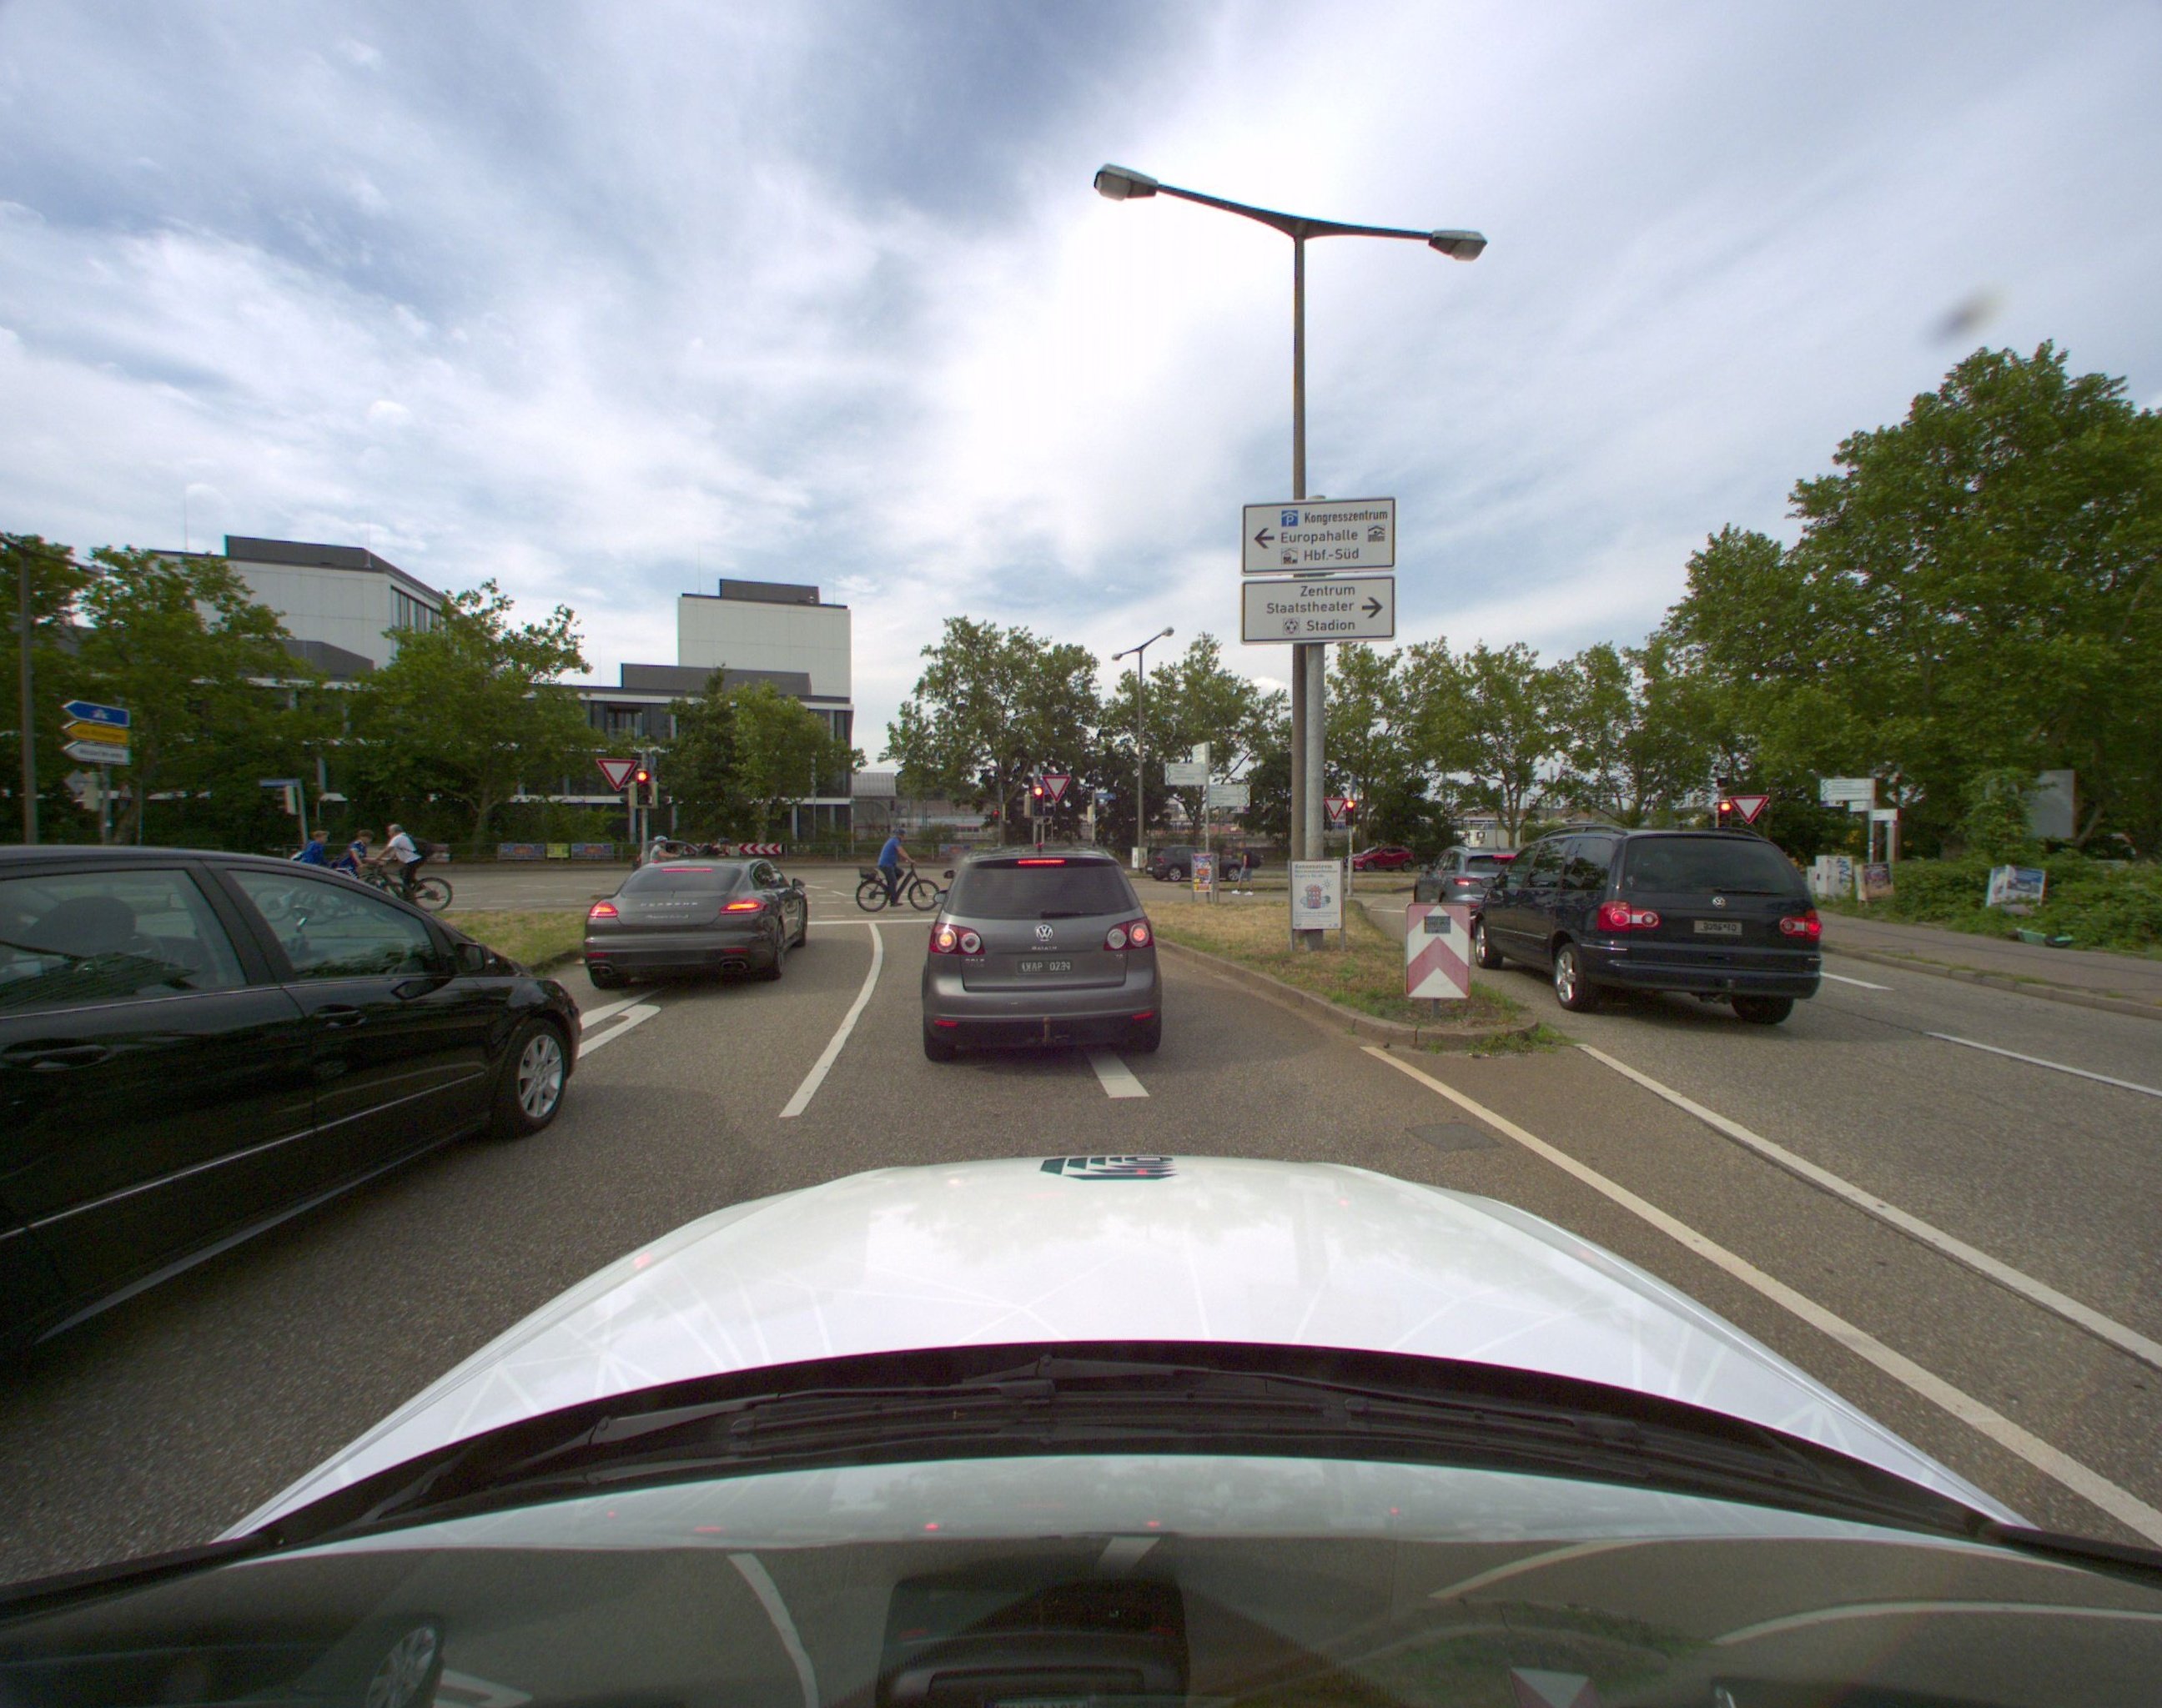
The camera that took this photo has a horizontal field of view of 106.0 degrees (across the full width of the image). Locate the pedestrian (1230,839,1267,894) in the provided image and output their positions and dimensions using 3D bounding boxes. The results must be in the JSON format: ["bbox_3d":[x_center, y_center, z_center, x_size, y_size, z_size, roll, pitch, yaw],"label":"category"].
[{"bbox_3d":[5.327,0.391,25.897,1.038,1.710,0.858,1,1,19],"label":"pedestrian"}]

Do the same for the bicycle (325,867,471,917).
[{"bbox_3d":[-14.450,0.775,17.333,2.240,0.952,0.804,-1,0,-28],"label":"bicycle"}]

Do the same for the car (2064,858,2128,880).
[{"bbox_3d":[81.668,1.177,65.544,3.993,1.723,1.802,-1,0,-15],"label":"car"}]

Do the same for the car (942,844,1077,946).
[{"bbox_3d":[-1.391,0.597,14.112,1.743,1.482,4.063,-1,0,-14],"label":"car"}]

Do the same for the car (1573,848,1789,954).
[{"bbox_3d":[10.944,0.757,15.256,1.738,1.643,4.152,2,0,13],"label":"car"}]

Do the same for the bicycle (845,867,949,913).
[{"bbox_3d":[-4.161,0.791,18.418,2.233,0.952,0.807,-1,0,-17],"label":"bicycle"}]

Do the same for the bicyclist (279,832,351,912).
[{"bbox_3d":[-15.007,0.330,15.968,0.842,1.529,0.623,-1,1,-24],"label":"bicyclist"}]

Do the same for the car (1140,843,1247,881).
[{"bbox_3d":[4.624,0.302,33.514,4.067,1.450,1.693,-1,0,-17],"label":"car"}]

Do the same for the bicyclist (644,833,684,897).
[{"bbox_3d":[-10.422,0.263,20.353,0.782,1.581,0.650,-1,1,-19],"label":"bicyclist"}]

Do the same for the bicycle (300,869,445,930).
[{"bbox_3d":[-13.051,0.817,15.072,1.908,1.013,0.624,-1,1,-21],"label":"bicycle"}]

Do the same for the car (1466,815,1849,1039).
[{"bbox_3d":[5.577,0.570,8.606,1.739,1.724,4.151,2,0,11],"label":"car"}]

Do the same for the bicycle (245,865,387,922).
[{"bbox_3d":[-14.966,0.749,15.989,1.910,1.013,0.623,-1,1,-24],"label":"bicycle"}]

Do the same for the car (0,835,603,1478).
[{"bbox_3d":[-3.648,0.726,2.968,1.755,1.575,4.028,0,1,-6],"label":"car"}]

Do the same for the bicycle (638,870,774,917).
[{"bbox_3d":[-8.029,0.836,17.565,2.594,0.890,0.699,-1,1,-23],"label":"bicycle"}]

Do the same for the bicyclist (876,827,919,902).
[{"bbox_3d":[-4.156,0.229,18.416,0.883,1.656,0.807,-1,0,-17],"label":"bicyclist"}]

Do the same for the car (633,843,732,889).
[{"bbox_3d":[-12.944,0.373,26.574,2.719,1.422,1.490,-1,0,-19],"label":"car"}]

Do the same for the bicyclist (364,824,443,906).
[{"bbox_3d":[-14.400,0.221,17.353,1.118,1.696,0.806,-1,0,-27],"label":"bicyclist"}]

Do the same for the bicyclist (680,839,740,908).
[{"bbox_3d":[-7.987,0.402,17.578,1.118,1.436,0.643,-1,1,-23],"label":"bicyclist"}]

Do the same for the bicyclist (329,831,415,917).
[{"bbox_3d":[-13.070,0.342,15.047,1.020,1.539,0.624,-1,1,-21],"label":"bicyclist"}]

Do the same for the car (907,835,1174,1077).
[{"bbox_3d":[-0.457,0.645,7.367,1.739,1.546,4.073,-1,0,-6],"label":"car"}]

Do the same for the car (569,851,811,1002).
[{"bbox_3d":[-4.629,0.695,10.435,1.821,1.414,4.754,0,1,-13],"label":"car"}]

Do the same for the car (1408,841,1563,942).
[{"bbox_3d":[7.393,0.607,15.304,1.679,1.585,4.171,2,0,13],"label":"car"}]

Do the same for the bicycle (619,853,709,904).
[{"bbox_3d":[-10.402,0.585,20.377,1.907,1.210,0.639,-1,1,-20],"label":"bicycle"}]

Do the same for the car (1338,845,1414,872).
[{"bbox_3d":[17.036,0.240,47.066,3.963,1.448,1.692,-1,0,-19],"label":"car"}]

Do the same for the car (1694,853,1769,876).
[{"bbox_3d":[43.912,0.717,54.984,4.336,1.448,1.752,-1,0,-15],"label":"car"}]
